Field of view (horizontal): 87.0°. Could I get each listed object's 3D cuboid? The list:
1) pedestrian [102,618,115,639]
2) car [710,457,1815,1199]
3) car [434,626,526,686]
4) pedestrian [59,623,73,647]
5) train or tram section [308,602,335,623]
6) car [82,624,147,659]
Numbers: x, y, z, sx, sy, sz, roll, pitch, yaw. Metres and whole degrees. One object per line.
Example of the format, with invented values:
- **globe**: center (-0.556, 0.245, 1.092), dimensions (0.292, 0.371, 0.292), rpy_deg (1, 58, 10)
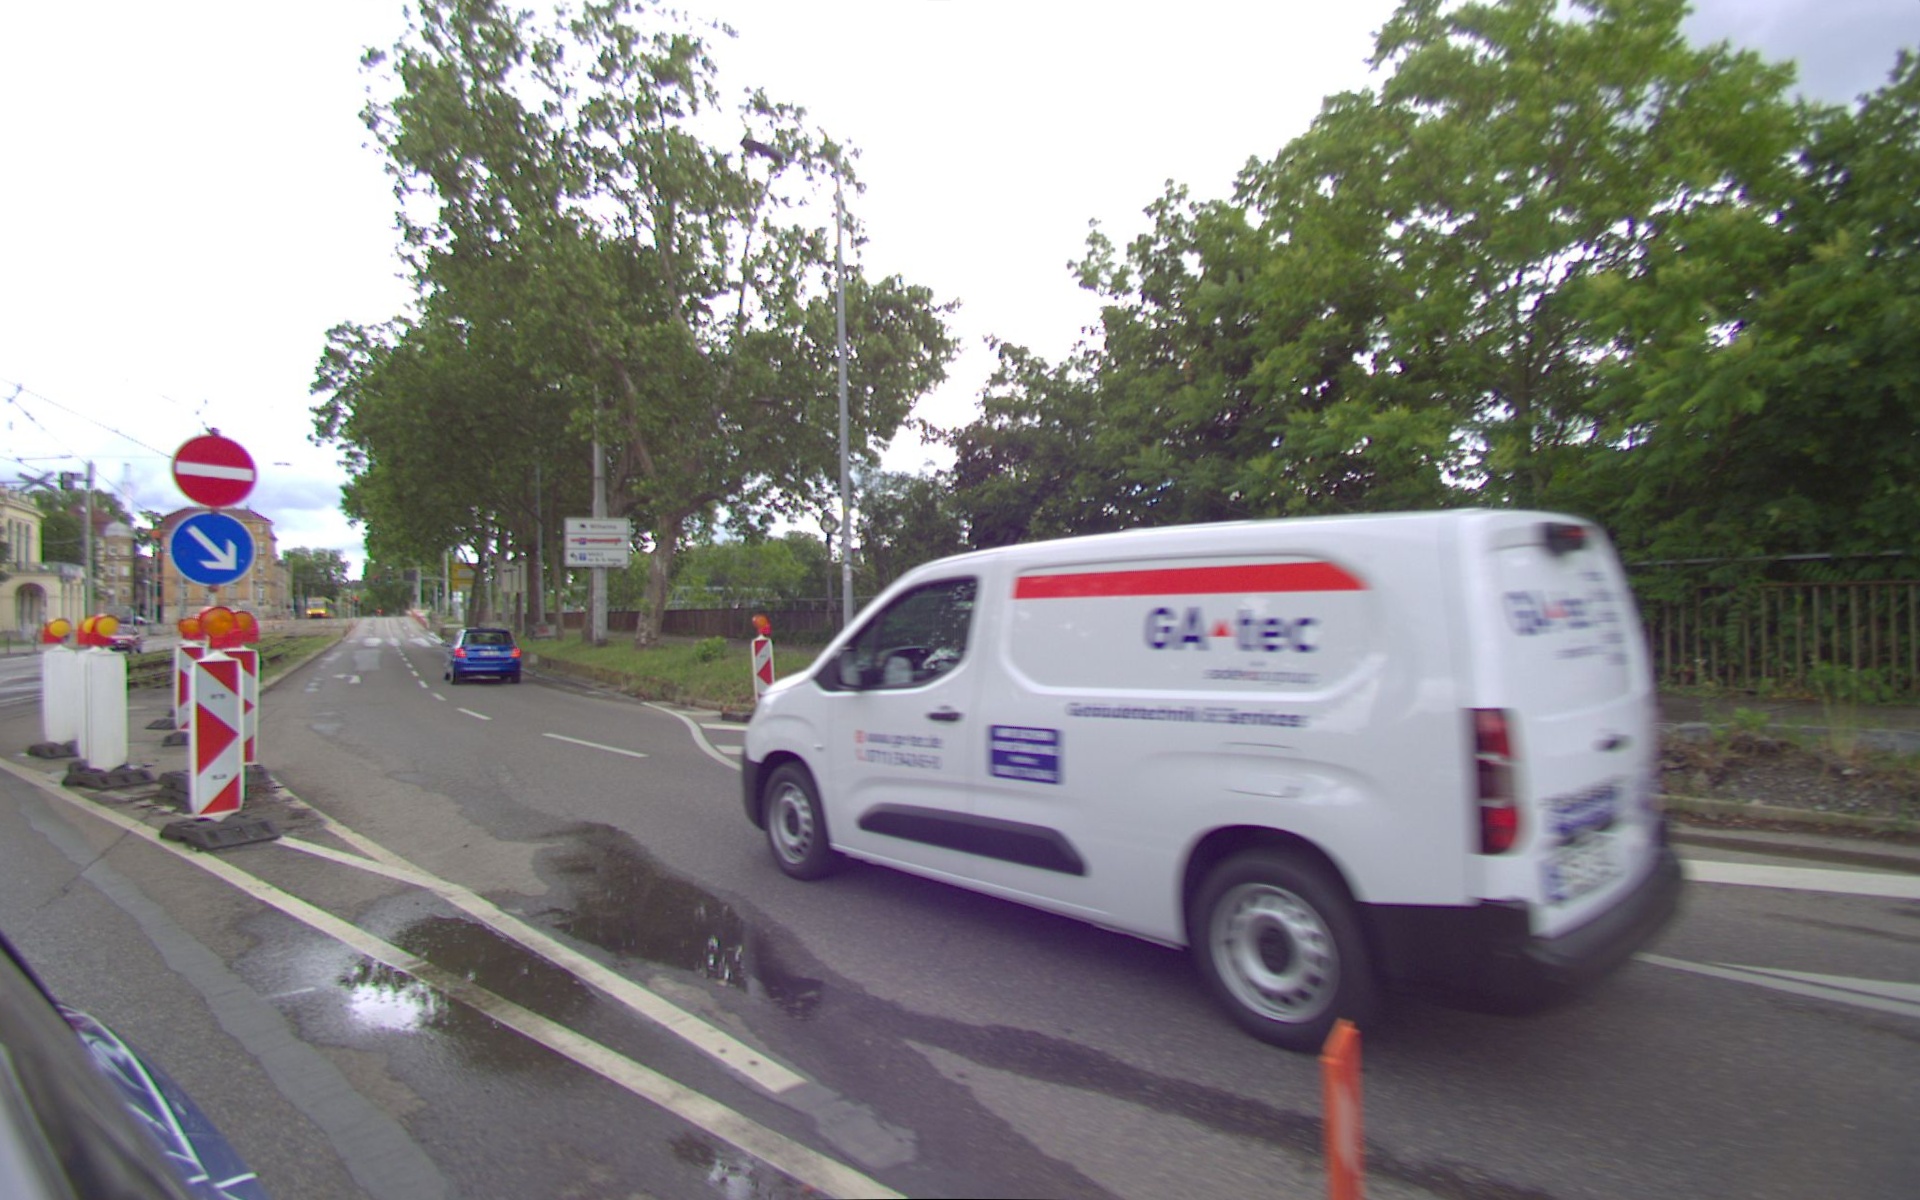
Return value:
- **pedestrian**: center (-70.539, 2.357, 83.864), dimensions (0.661, 1.781, 0.939), rpy_deg (0, -1, -31)
- **car**: center (0.826, 0.641, 4.841), dimensions (1.841, 1.796, 4.753), rpy_deg (0, -2, -43)
- **car**: center (-12.949, 1.487, 27.196), dimensions (1.672, 1.472, 3.923), rpy_deg (1, -3, -34)
- **pedestrian**: center (-67.965, 2.633, 76.934), dimensions (0.661, 1.781, 0.939), rpy_deg (0, -1, -31)
- **train or tram section**: center (-107.874, 2.053, 171.120), dimensions (3.678, 3.391, 17.608), rpy_deg (1, -1, -32)
- **car**: center (-39.631, 1.918, 47.507), dimensions (1.654, 1.453, 4.131), rpy_deg (-3, 0, -31)
